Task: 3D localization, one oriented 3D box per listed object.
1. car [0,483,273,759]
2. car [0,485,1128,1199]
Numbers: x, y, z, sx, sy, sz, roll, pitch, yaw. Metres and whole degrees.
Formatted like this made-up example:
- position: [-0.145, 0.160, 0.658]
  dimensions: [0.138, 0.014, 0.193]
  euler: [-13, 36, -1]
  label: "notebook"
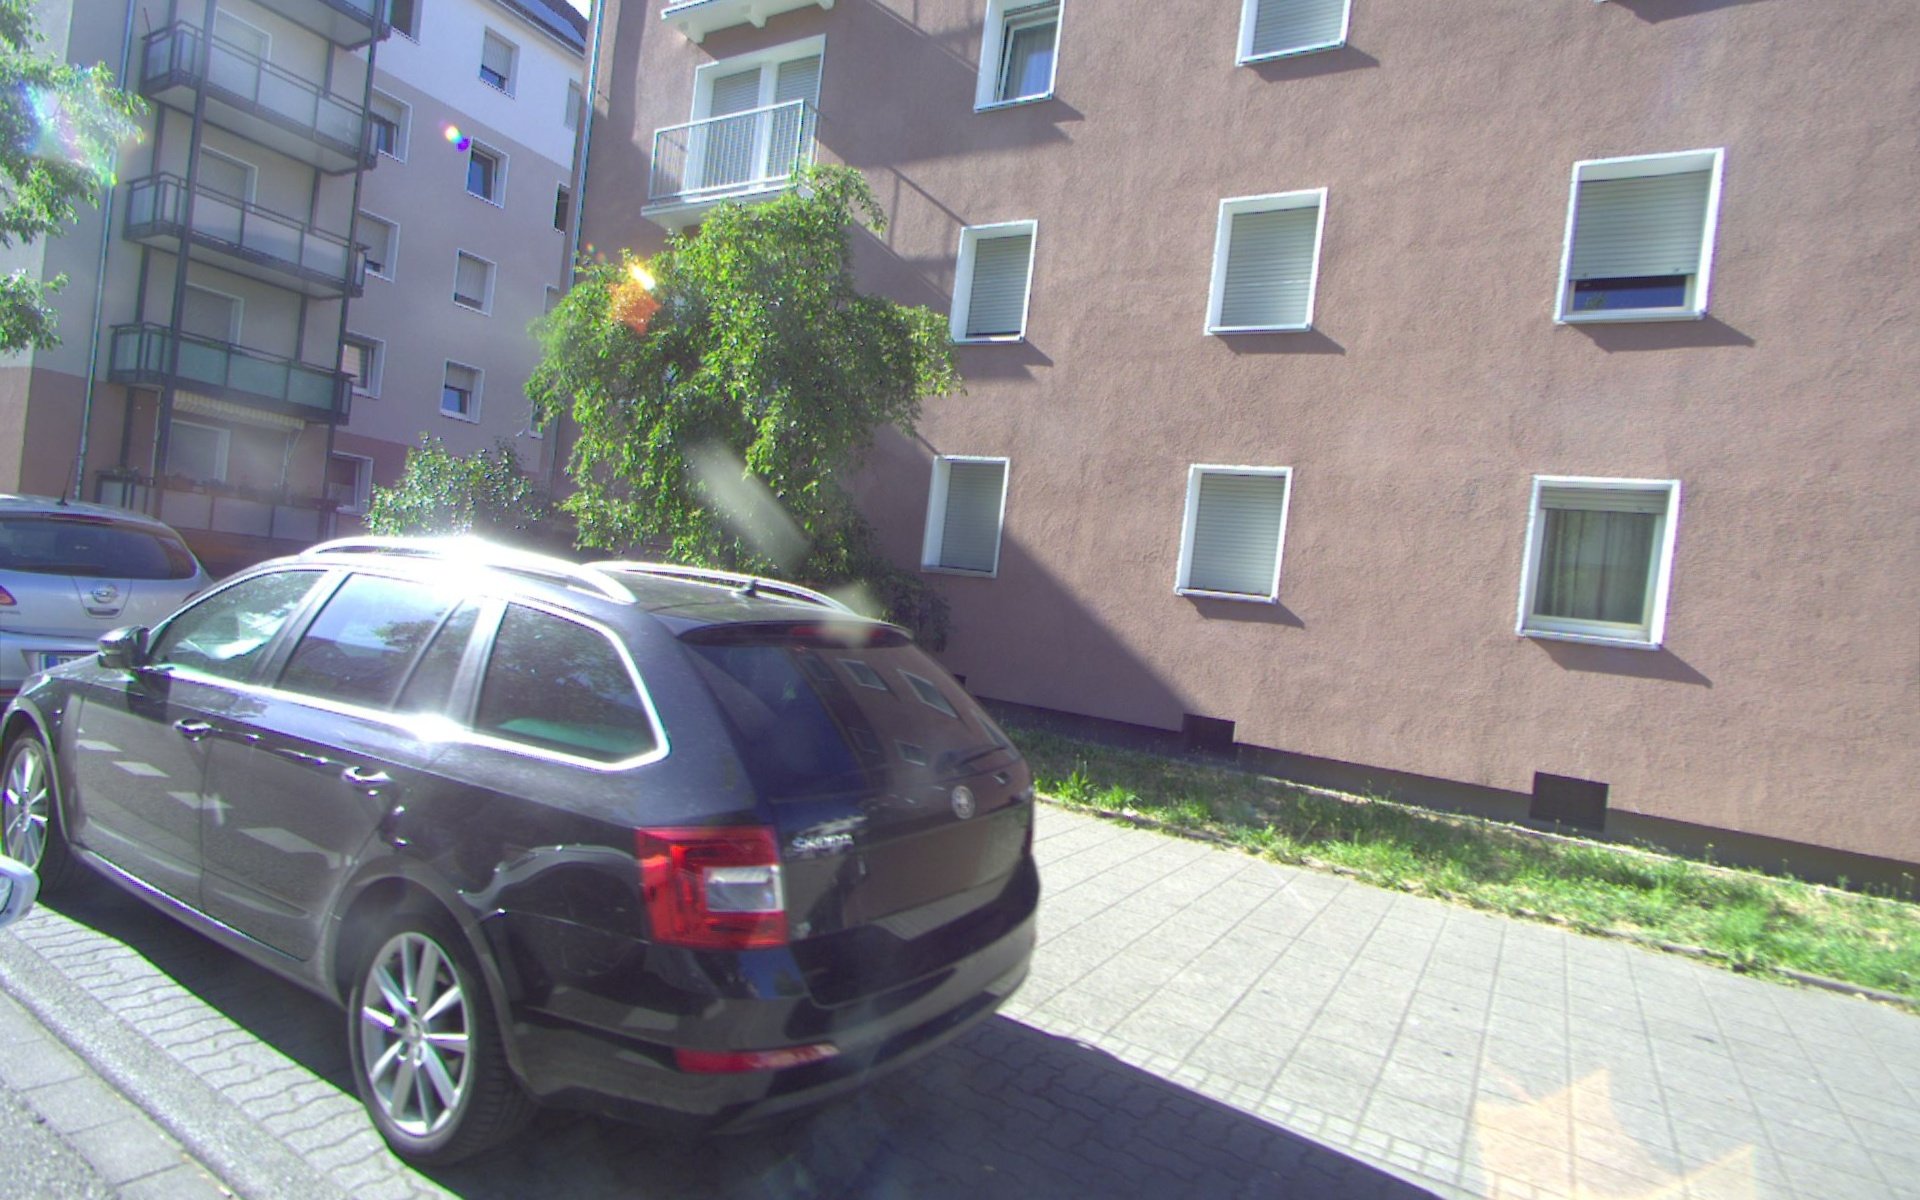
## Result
- position: [-6.695, -0.029, 6.965]
  dimensions: [3.794, 1.538, 1.742]
  euler: [7, 0, 32]
  label: "car"
- position: [-1.773, 0.545, 3.691]
  dimensions: [4.238, 1.539, 1.783]
  euler: [7, 2, 32]
  label: "car"
